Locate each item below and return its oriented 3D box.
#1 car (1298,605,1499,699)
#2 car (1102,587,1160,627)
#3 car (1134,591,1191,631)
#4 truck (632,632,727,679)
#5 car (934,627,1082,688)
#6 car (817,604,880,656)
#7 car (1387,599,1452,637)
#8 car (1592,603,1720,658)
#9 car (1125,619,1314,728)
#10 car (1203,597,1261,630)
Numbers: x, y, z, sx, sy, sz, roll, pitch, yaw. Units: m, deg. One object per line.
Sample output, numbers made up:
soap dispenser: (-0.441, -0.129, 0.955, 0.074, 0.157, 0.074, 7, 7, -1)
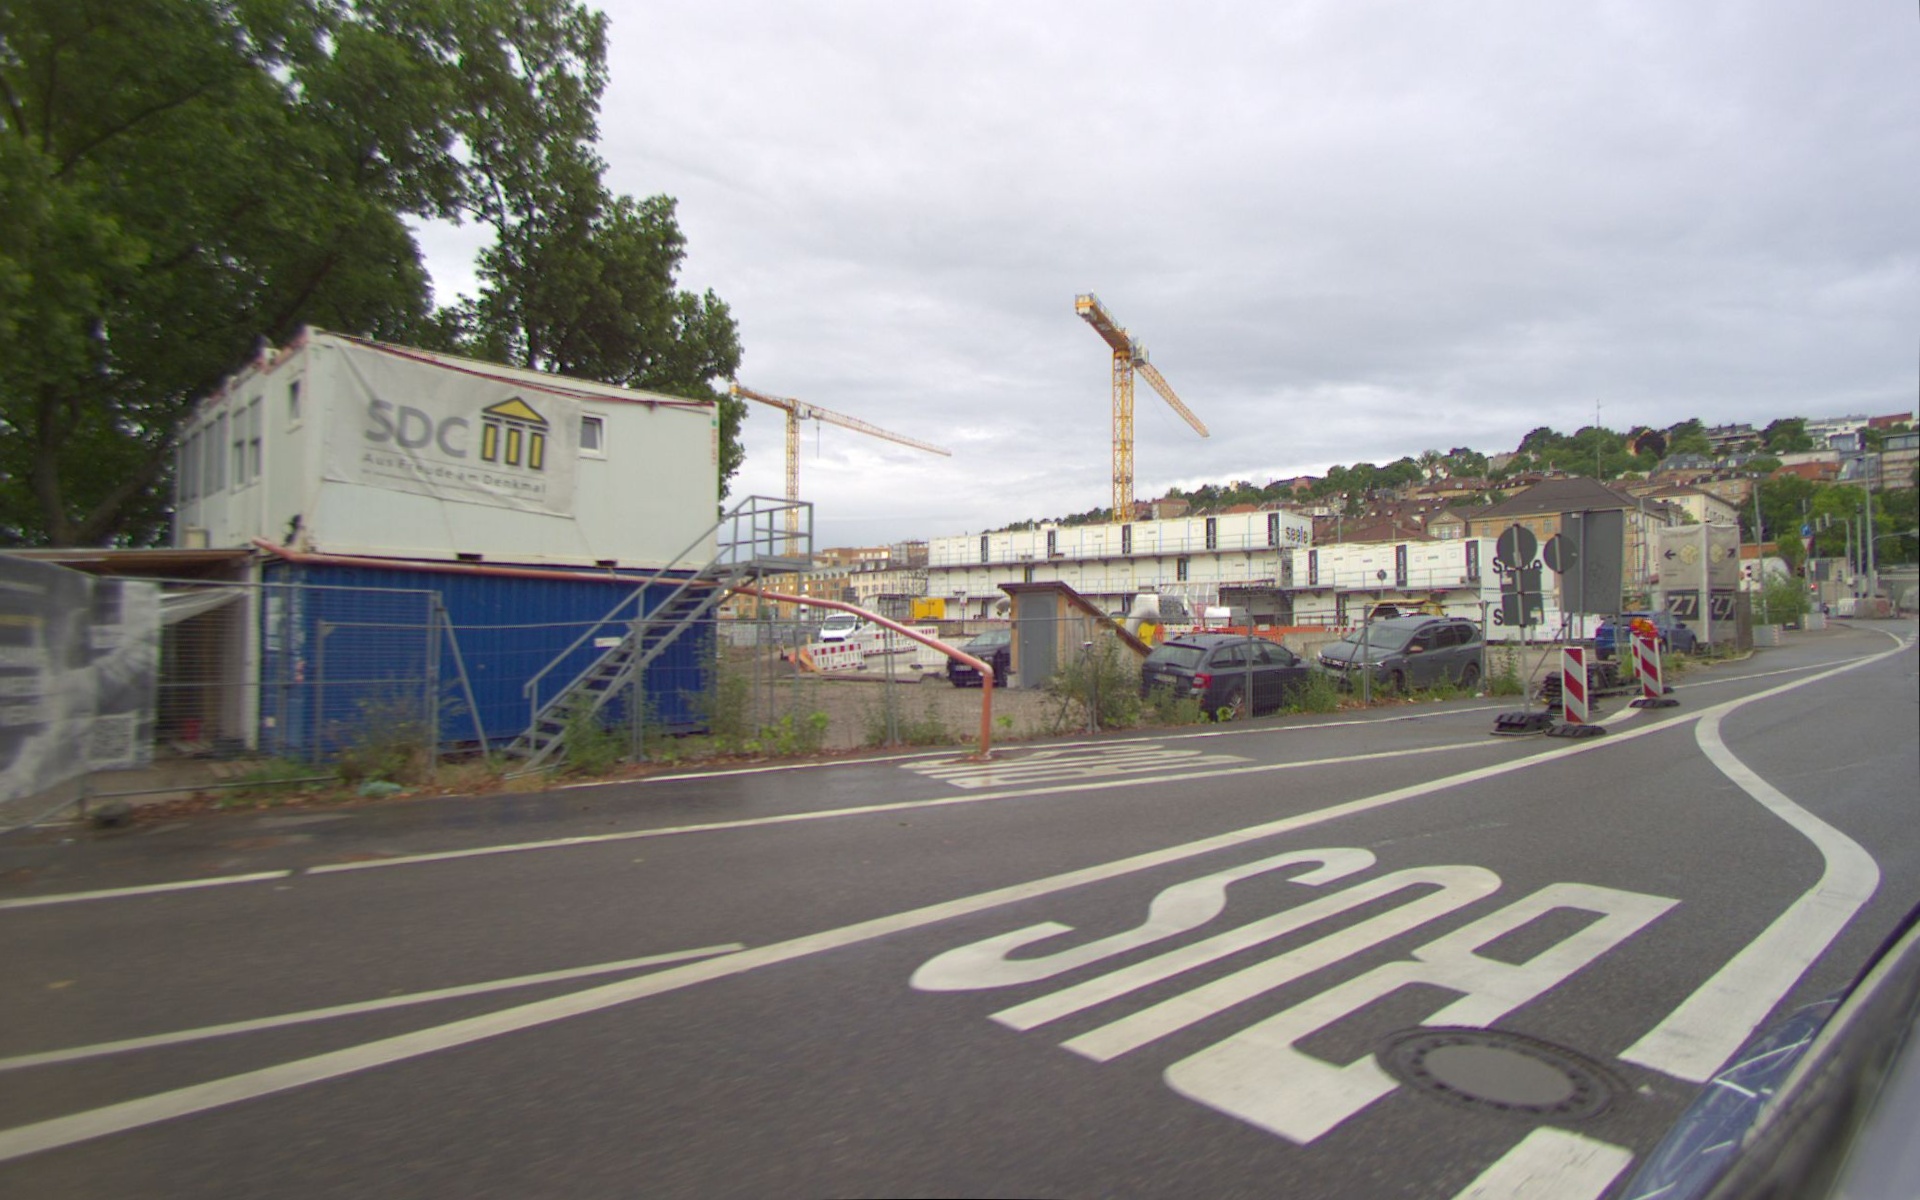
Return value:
car: (9.619, 1.048, 22.120, 4.328, 1.669, 1.930, -1, 4, -33)
car: (11.674, 0.404, 68.711, 1.987, 2.592, 4.922, 1, 1, 34)
car: (13.431, 0.692, 66.967, 1.986, 2.472, 4.922, 0, 1, 34)
truck: (-14.043, 2.794, 50.470, 2.369, 2.080, 5.551, 0, -4, -41)
car: (1.315, 1.444, 26.274, 1.710, 1.323, 3.940, -3, -1, 42)
car: (-5.471, 1.424, 50.513, 1.922, 2.307, 5.253, 1, 1, 7)
car: (24.361, 0.905, 53.580, 2.011, 1.925, 4.586, 0, 0, 40)
car: (20.669, 0.887, 29.987, 4.332, 1.460, 1.836, -1, -2, -38)
car: (4.970, 1.271, 19.071, 1.850, 1.502, 3.942, 0, 3, 42)
car: (17.071, 0.795, 63.281, 1.987, 1.911, 4.922, 1, 2, 34)
